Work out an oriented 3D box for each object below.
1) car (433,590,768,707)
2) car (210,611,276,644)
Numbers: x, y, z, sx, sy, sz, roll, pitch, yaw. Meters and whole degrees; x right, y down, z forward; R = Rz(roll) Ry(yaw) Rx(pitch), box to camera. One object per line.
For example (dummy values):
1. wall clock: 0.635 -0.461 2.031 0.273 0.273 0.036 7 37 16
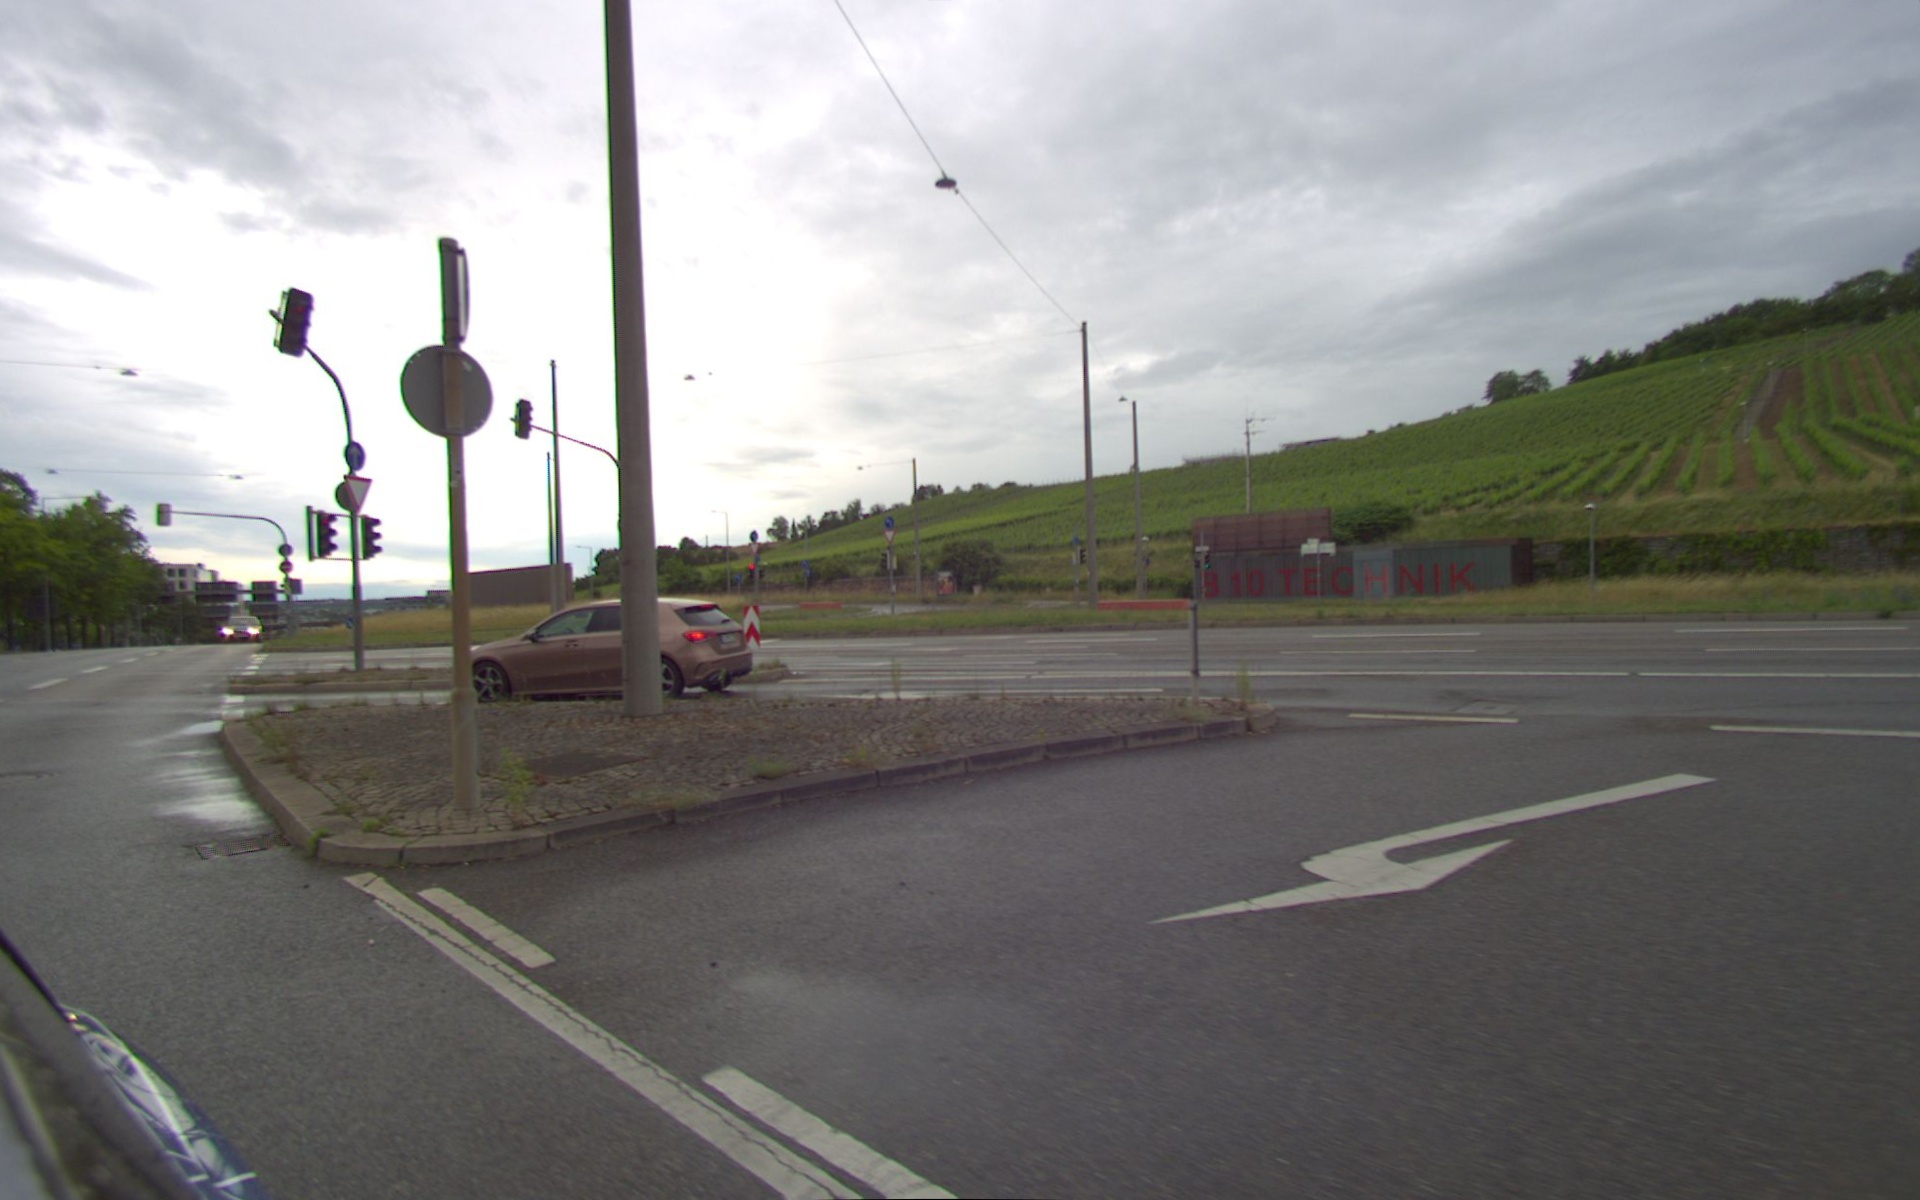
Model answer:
1. car: -5.141 0.682 14.624 4.299 1.472 1.731 -2 1 14
2. car: -38.209 1.436 54.031 1.766 1.600 3.918 -2 1 -18
